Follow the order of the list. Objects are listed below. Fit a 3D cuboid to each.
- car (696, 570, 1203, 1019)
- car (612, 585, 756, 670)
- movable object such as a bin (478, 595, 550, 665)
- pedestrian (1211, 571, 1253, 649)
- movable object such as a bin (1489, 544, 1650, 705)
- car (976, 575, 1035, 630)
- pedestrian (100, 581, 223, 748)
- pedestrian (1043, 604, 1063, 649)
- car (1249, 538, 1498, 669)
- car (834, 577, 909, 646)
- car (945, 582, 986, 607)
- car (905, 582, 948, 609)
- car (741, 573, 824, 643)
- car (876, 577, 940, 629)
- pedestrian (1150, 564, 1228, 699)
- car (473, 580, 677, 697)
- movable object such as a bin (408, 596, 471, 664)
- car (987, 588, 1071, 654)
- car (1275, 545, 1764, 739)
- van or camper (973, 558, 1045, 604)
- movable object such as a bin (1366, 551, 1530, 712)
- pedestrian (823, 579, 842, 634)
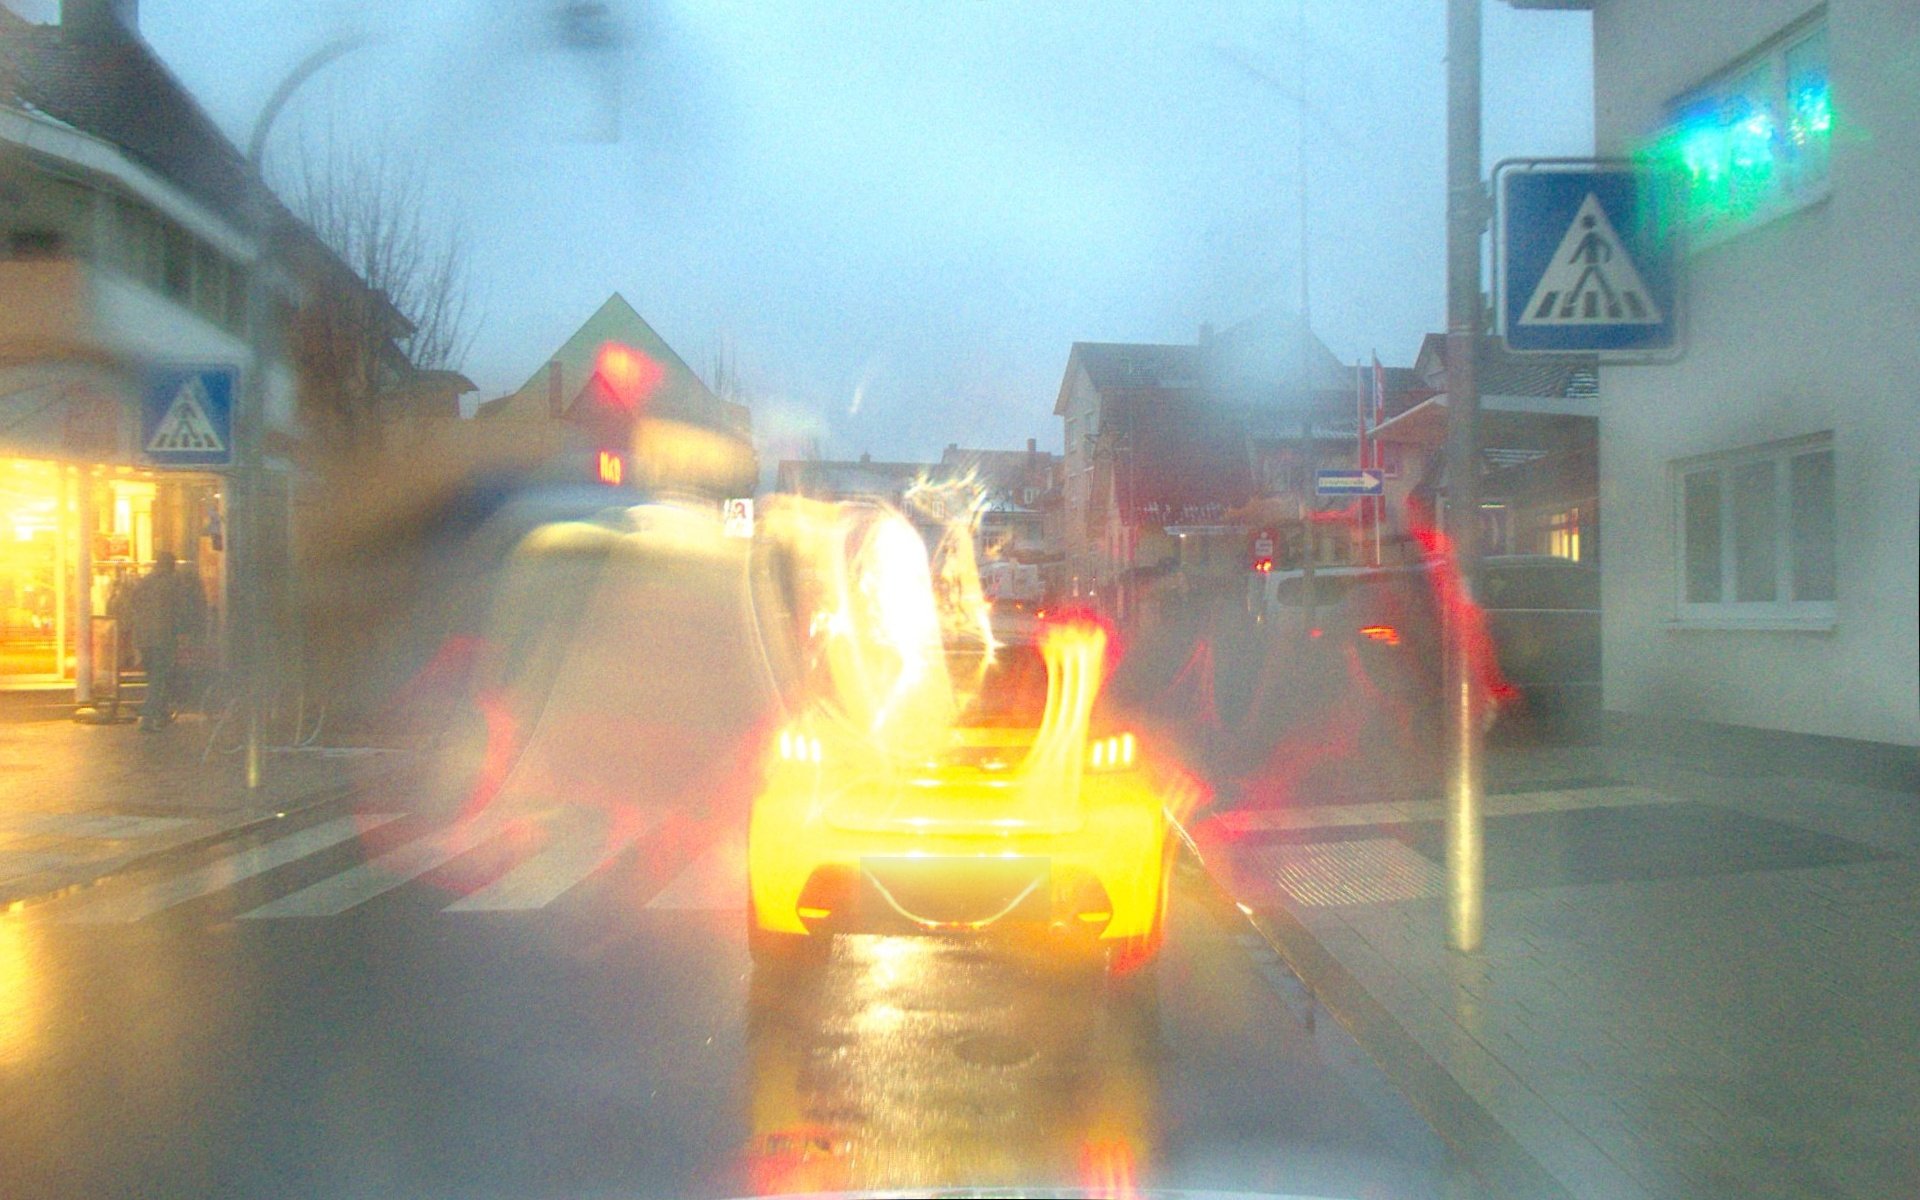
[{"bbox_3d":[-0.006,0.693,7.897,1.777,1.560,4.000,1,0,1],"label":"car"},{"bbox_3d":[-5.357,0.498,32.742,1.952,1.549,4.978,0,0,1],"label":"car"},{"bbox_3d":[-9.341,0.622,34.679,1.315,1.377,0.887,-3,0,-9],"label":"movable object such as a bin"},{"bbox_3d":[6.136,0.221,37.357,0.824,1.735,0.839,-1,0,5],"label":"pedestrian"},{"bbox_3d":[6.725,0.257,18.325,1.259,1.672,1.185,-2,0,-2],"label":"movable object such as a bin"},{"bbox_3d":[1.643,0.092,60.613,1.953,1.890,3.999,1,0,-1],"label":"car"},{"bbox_3d":[-8.370,0.655,17.384,0.810,1.687,1.096,2,0,-7],"label":"pedestrian"},{"bbox_3d":[3.668,1.050,65.377,0.730,1.759,0.872,0,1,-3],"label":"pedestrian"},{"bbox_3d":[7.130,0.070,28.922,4.003,2.085,2.002,-2,0,9],"label":"car"},{"bbox_3d":[-2.501,0.273,47.702,1.953,1.735,4.966,2,1,-1],"label":"car"},{"bbox_3d":[0.389,-0.378,117.943,1.960,1.639,4.159,-2,0,-14],"label":"car"},{"bbox_3d":[-2.415,-0.353,117.587,1.961,1.796,4.332,-2,1,-16],"label":"car"},{"bbox_3d":[-4.856,0.183,45.925,2.044,1.823,5.020,1,1,-4],"label":"car"},{"bbox_3d":[-1.991,0.071,61.990,1.915,1.573,4.411,6,2,-6],"label":"car"},{"bbox_3d":[3.350,0.449,24.321,0.947,1.922,1.005,1,0,-2],"label":"pedestrian"},{"bbox_3d":[-5.753,0.528,25.328,1.952,1.585,4.621,1,0,1],"label":"car"},{"bbox_3d":[-10.842,0.616,34.479,1.129,1.378,0.850,0,0,-10],"label":"movable object such as a bin"},{"bbox_3d":[1.789,0.532,44.033,1.953,1.616,3.999,1,0,-1],"label":"car"},{"bbox_3d":[5.196,0.395,15.559,3.920,1.653,1.992,1,0,-14],"label":"car"},{"bbox_3d":[3.442,-1.353,118.716,2.614,3.100,6.689,-3,1,-22],"label":"van or camper"},{"bbox_3d":[5.390,0.330,18.357,1.365,1.672,1.261,-2,0,-2],"label":"movable object such as a bin"},{"bbox_3d":[-3.821,0.194,49.573,0.563,1.613,0.530,0,1,-3],"label":"pedestrian"}]
